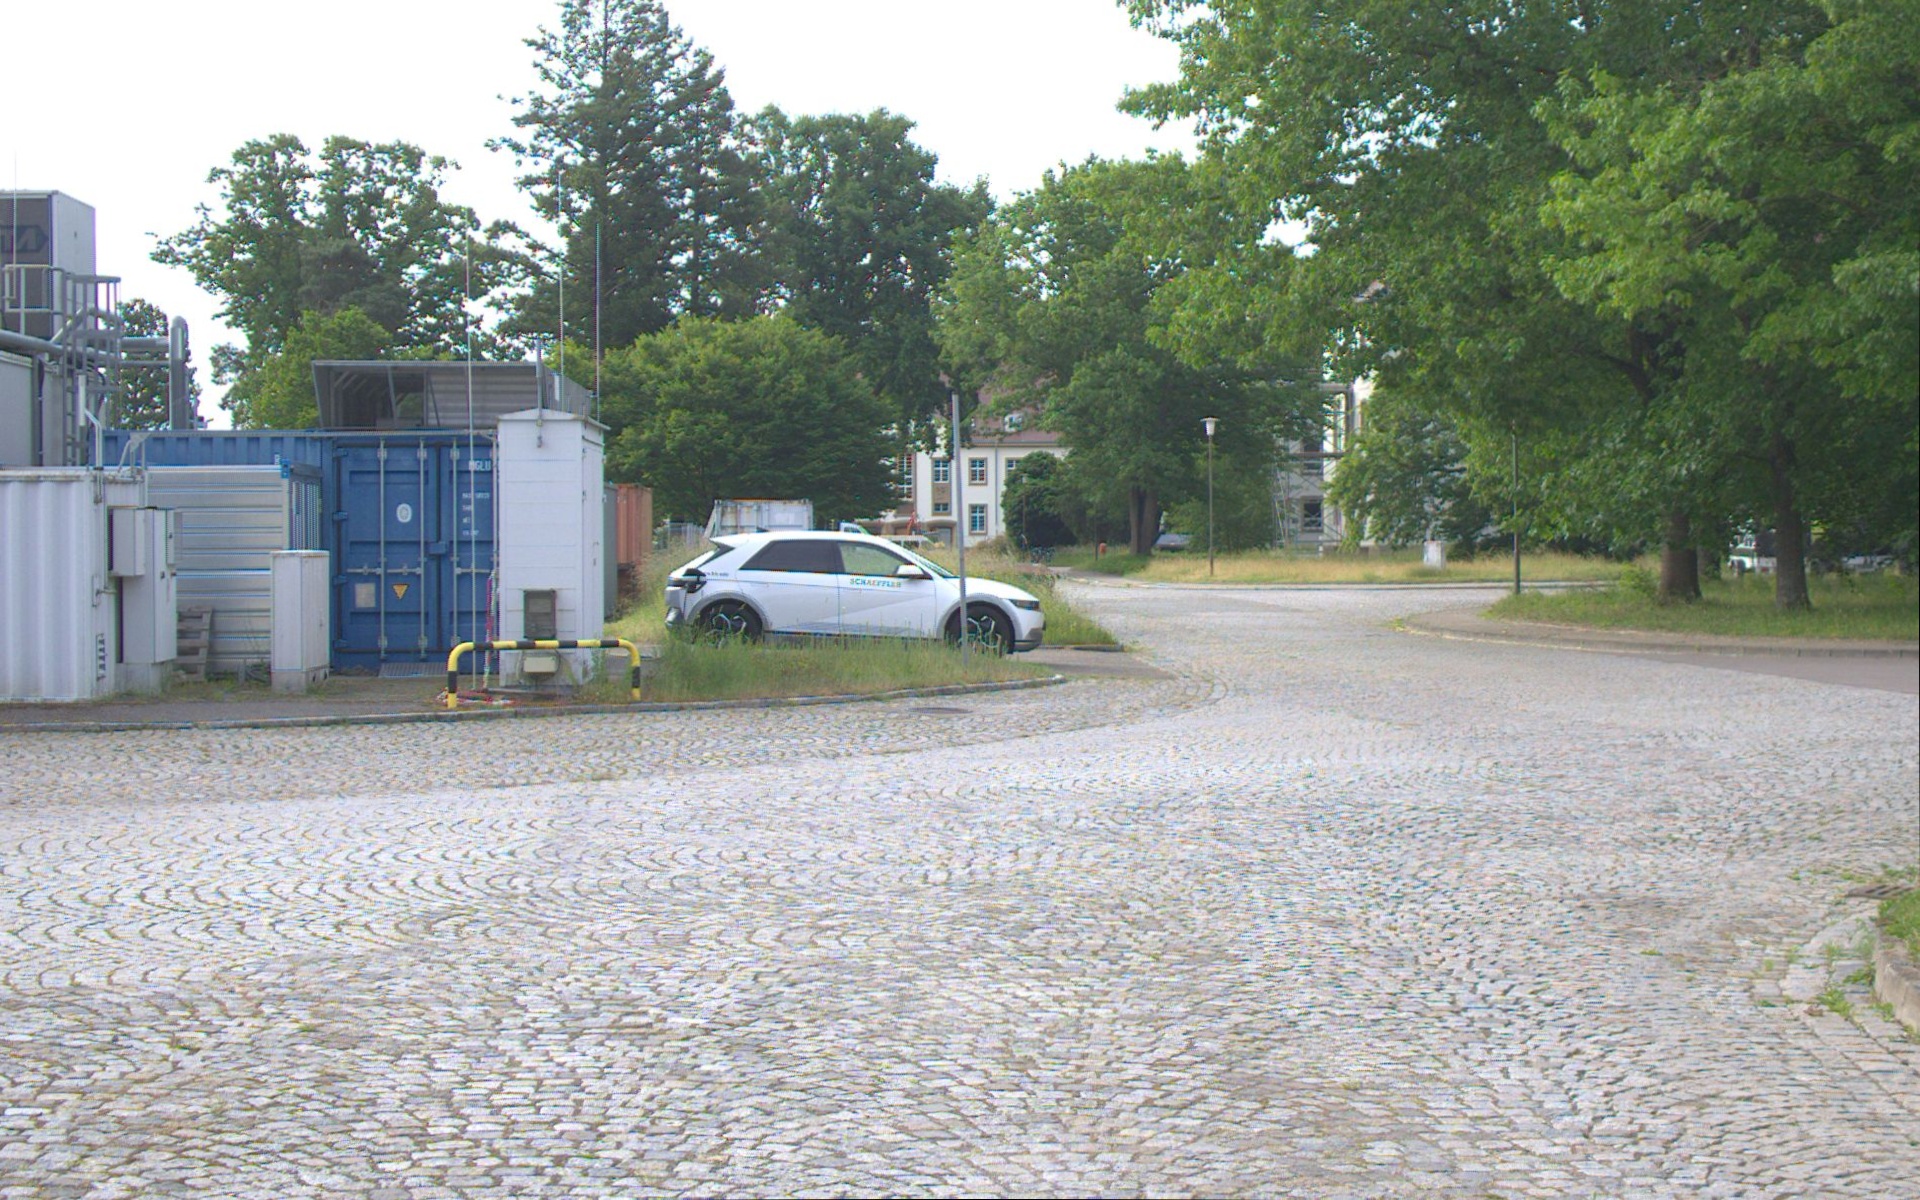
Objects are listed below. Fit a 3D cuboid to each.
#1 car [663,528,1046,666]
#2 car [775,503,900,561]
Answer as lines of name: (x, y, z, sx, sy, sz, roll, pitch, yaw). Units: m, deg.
car: (-1.242, -0.058, 41.844, 4.534, 1.594, 2.000, -1, 1, 1)
car: (-5.102, -2.832, 143.346, 5.170, 2.329, 2.000, -1, 1, -2)
